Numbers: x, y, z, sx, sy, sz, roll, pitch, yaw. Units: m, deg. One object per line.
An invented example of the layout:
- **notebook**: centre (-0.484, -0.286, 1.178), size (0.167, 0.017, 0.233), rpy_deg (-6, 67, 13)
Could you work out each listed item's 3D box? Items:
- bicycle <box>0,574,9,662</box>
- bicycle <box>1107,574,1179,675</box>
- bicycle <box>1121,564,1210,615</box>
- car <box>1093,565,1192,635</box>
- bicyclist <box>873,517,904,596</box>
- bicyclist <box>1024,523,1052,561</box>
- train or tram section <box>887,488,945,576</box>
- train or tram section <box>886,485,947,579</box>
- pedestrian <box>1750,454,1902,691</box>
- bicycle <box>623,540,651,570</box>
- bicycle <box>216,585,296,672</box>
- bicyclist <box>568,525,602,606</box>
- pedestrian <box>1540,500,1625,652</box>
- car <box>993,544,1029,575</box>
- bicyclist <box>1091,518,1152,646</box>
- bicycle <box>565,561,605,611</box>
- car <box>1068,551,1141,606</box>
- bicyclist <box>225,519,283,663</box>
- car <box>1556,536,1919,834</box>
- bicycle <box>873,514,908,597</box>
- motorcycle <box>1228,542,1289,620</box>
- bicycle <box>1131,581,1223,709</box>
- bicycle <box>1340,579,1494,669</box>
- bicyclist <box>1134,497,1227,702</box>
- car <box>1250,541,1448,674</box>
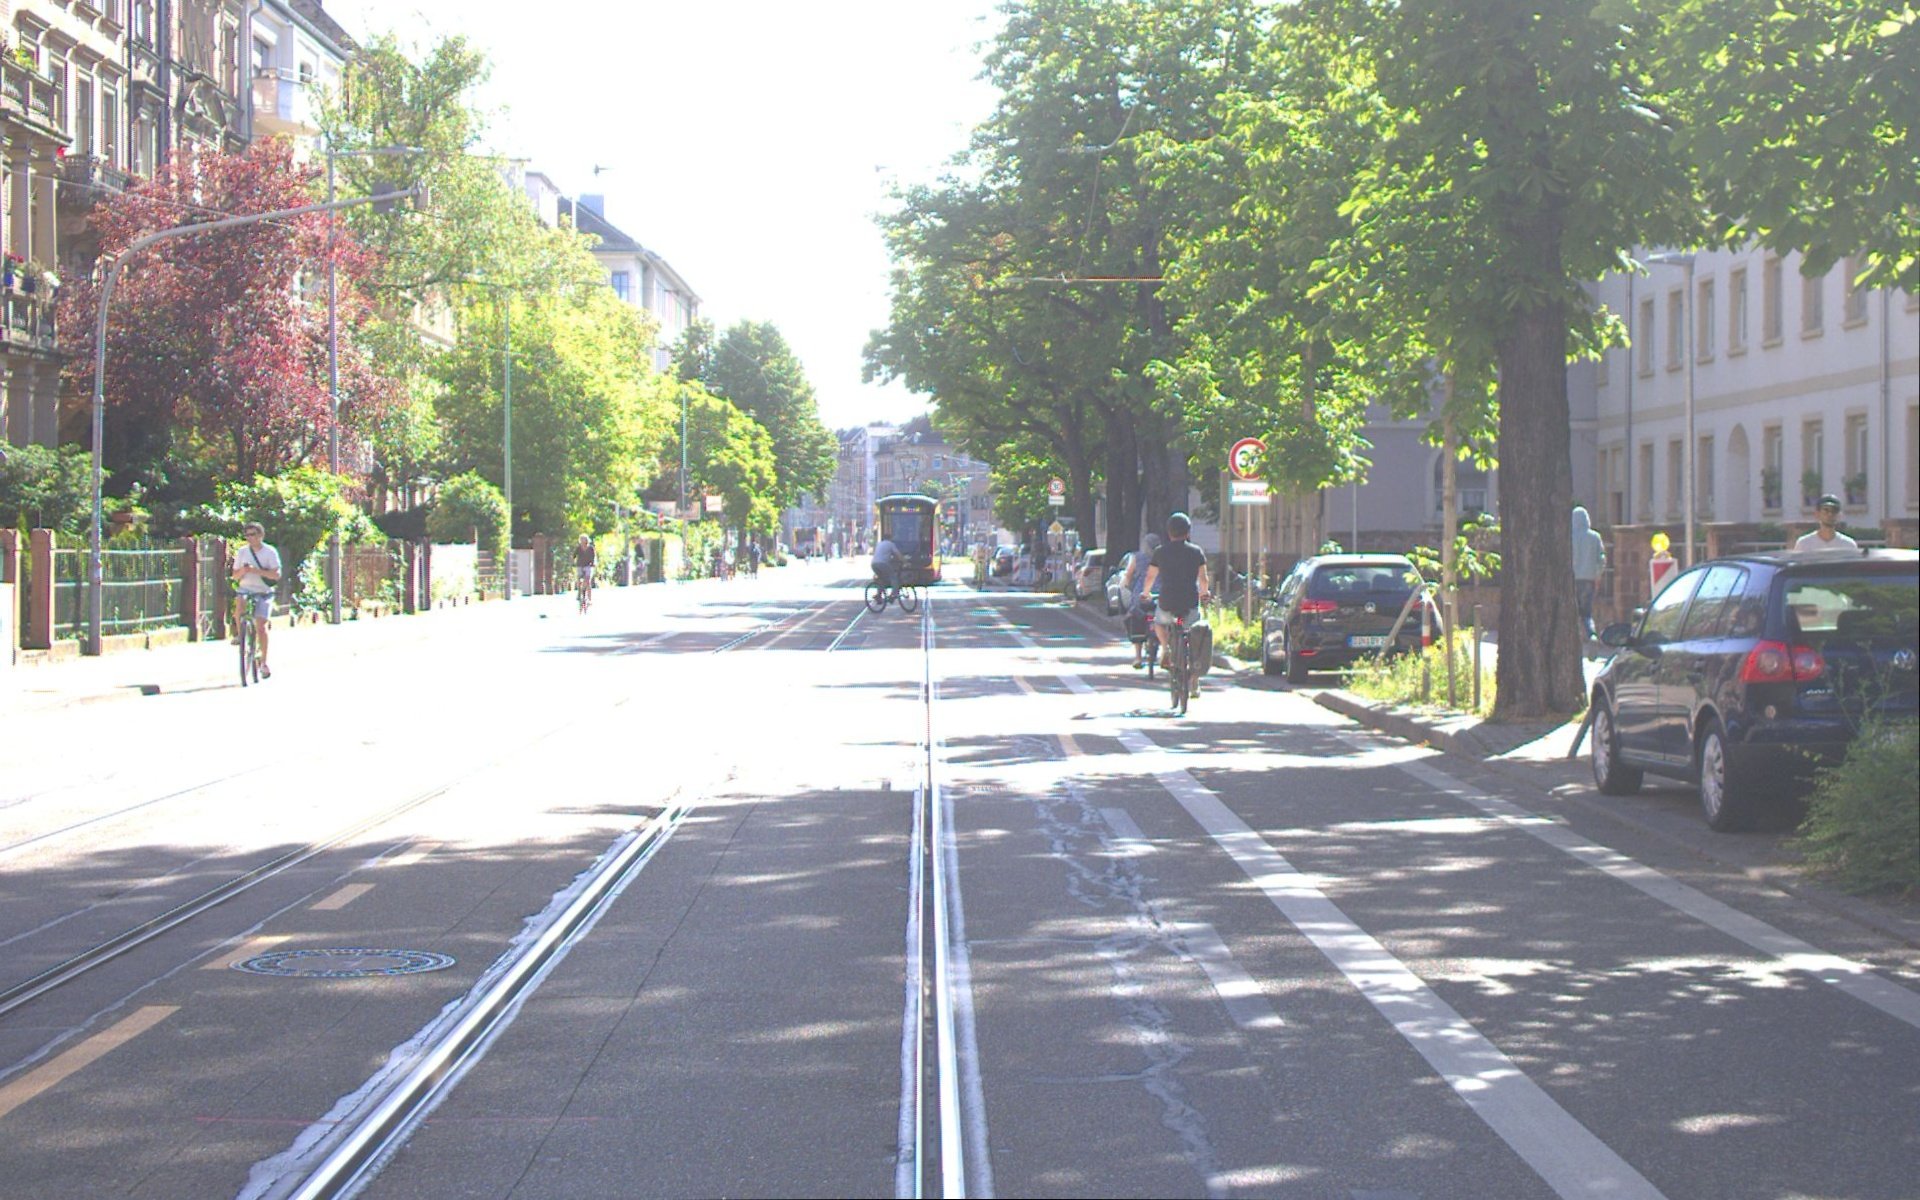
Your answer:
- **bicycle**: centre (-11.080, 0.215, 38.493), size (0.335, 0.997, 1.870), rpy_deg (2, 1, 0)
- **bicycle**: centre (2.140, 0.271, 40.349), size (0.692, 1.108, 1.917), rpy_deg (2, 1, 0)
- **bicycle**: centre (4.336, -0.218, 72.600), size (1.792, 1.016, 0.620), rpy_deg (-2, 1, -1)
- **car**: centre (3.985, -0.021, 75.643), size (1.628, 1.431, 4.666), rpy_deg (0, 1, -4)
- **bicyclist**: centre (-1.643, -1.001, 78.950), size (0.645, 1.789, 0.956), rpy_deg (2, 1, -1)
- **bicyclist**: centre (2.727, -2.014, 119.559), size (0.772, 1.287, 0.733), rpy_deg (2, 1, 16)
- **train or tram section**: centre (-1.774, -2.736, 138.466), size (2.153, 3.420, 6.612), rpy_deg (2, 1, -1)
- **train or tram section**: centre (-1.668, -2.603, 131.834), size (2.153, 3.420, 6.612), rpy_deg (2, 1, -1)
- **pedestrian**: centre (6.642, -0.211, 26.387), size (0.599, 1.765, 0.913), rpy_deg (-3, 1, -31)
- **bicycle**: centre (-11.846, -1.644, 125.952), size (0.632, 1.065, 1.832), rpy_deg (1, 1, -17)
- **bicycle**: centre (-7.992, 0.314, 39.107), size (0.460, 0.922, 2.203), rpy_deg (-1, 1, 0)
- **bicyclist**: centre (-8.425, -0.776, 77.219), size (0.660, 1.795, 0.616), rpy_deg (-2, 0, 0)
- **pedestrian**: centre (7.199, -0.279, 39.765), size (0.764, 1.718, 0.579), rpy_deg (2, 1, 29)
- **car**: centre (2.620, -2.100, 177.175), size (1.754, 1.546, 3.677), rpy_deg (1, 1, -1)
- **bicyclist**: centre (1.894, -0.216, 40.261), size (0.635, 1.463, 0.616), rpy_deg (2, 1, 0)
- **bicycle**: centre (-8.426, -0.321, 77.328), size (0.692, 1.108, 1.719), rpy_deg (-1, 1, 0)
- **car**: centre (3.936, -0.608, 94.059), size (1.748, 1.415, 4.000), rpy_deg (-1, 1, -1)
- **bicyclist**: centre (-8.016, -0.109, 39.039), size (0.464, 1.613, 0.744), rpy_deg (-2, 1, 0)
- **car**: centre (4.681, 0.388, 19.483), size (1.720, 1.468, 4.247), rpy_deg (-1, 1, -2)
- **bicycle**: centre (-1.595, -1.028, 79.068), size (0.663, 1.853, 2.260), rpy_deg (2, 1, 1)
- **motorcycle**: centre (4.735, -0.316, 54.589), size (0.495, 1.186, 1.862), rpy_deg (-4, 2, -8)
- **bicycle**: centre (1.992, 0.403, 31.767), size (0.692, 1.108, 1.719), rpy_deg (2, 1, 0)
- **bicycle**: centre (5.690, 0.293, 42.820), size (1.792, 1.063, 0.621), rpy_deg (-1, 1, -5)
- **bicyclist**: centre (2.023, -0.014, 31.684), size (0.727, 1.842, 0.837), rpy_deg (2, 1, -1)
- **car**: centre (4.463, 0.049, 39.945), size (1.787, 1.459, 4.045), rpy_deg (0, 1, -1)
